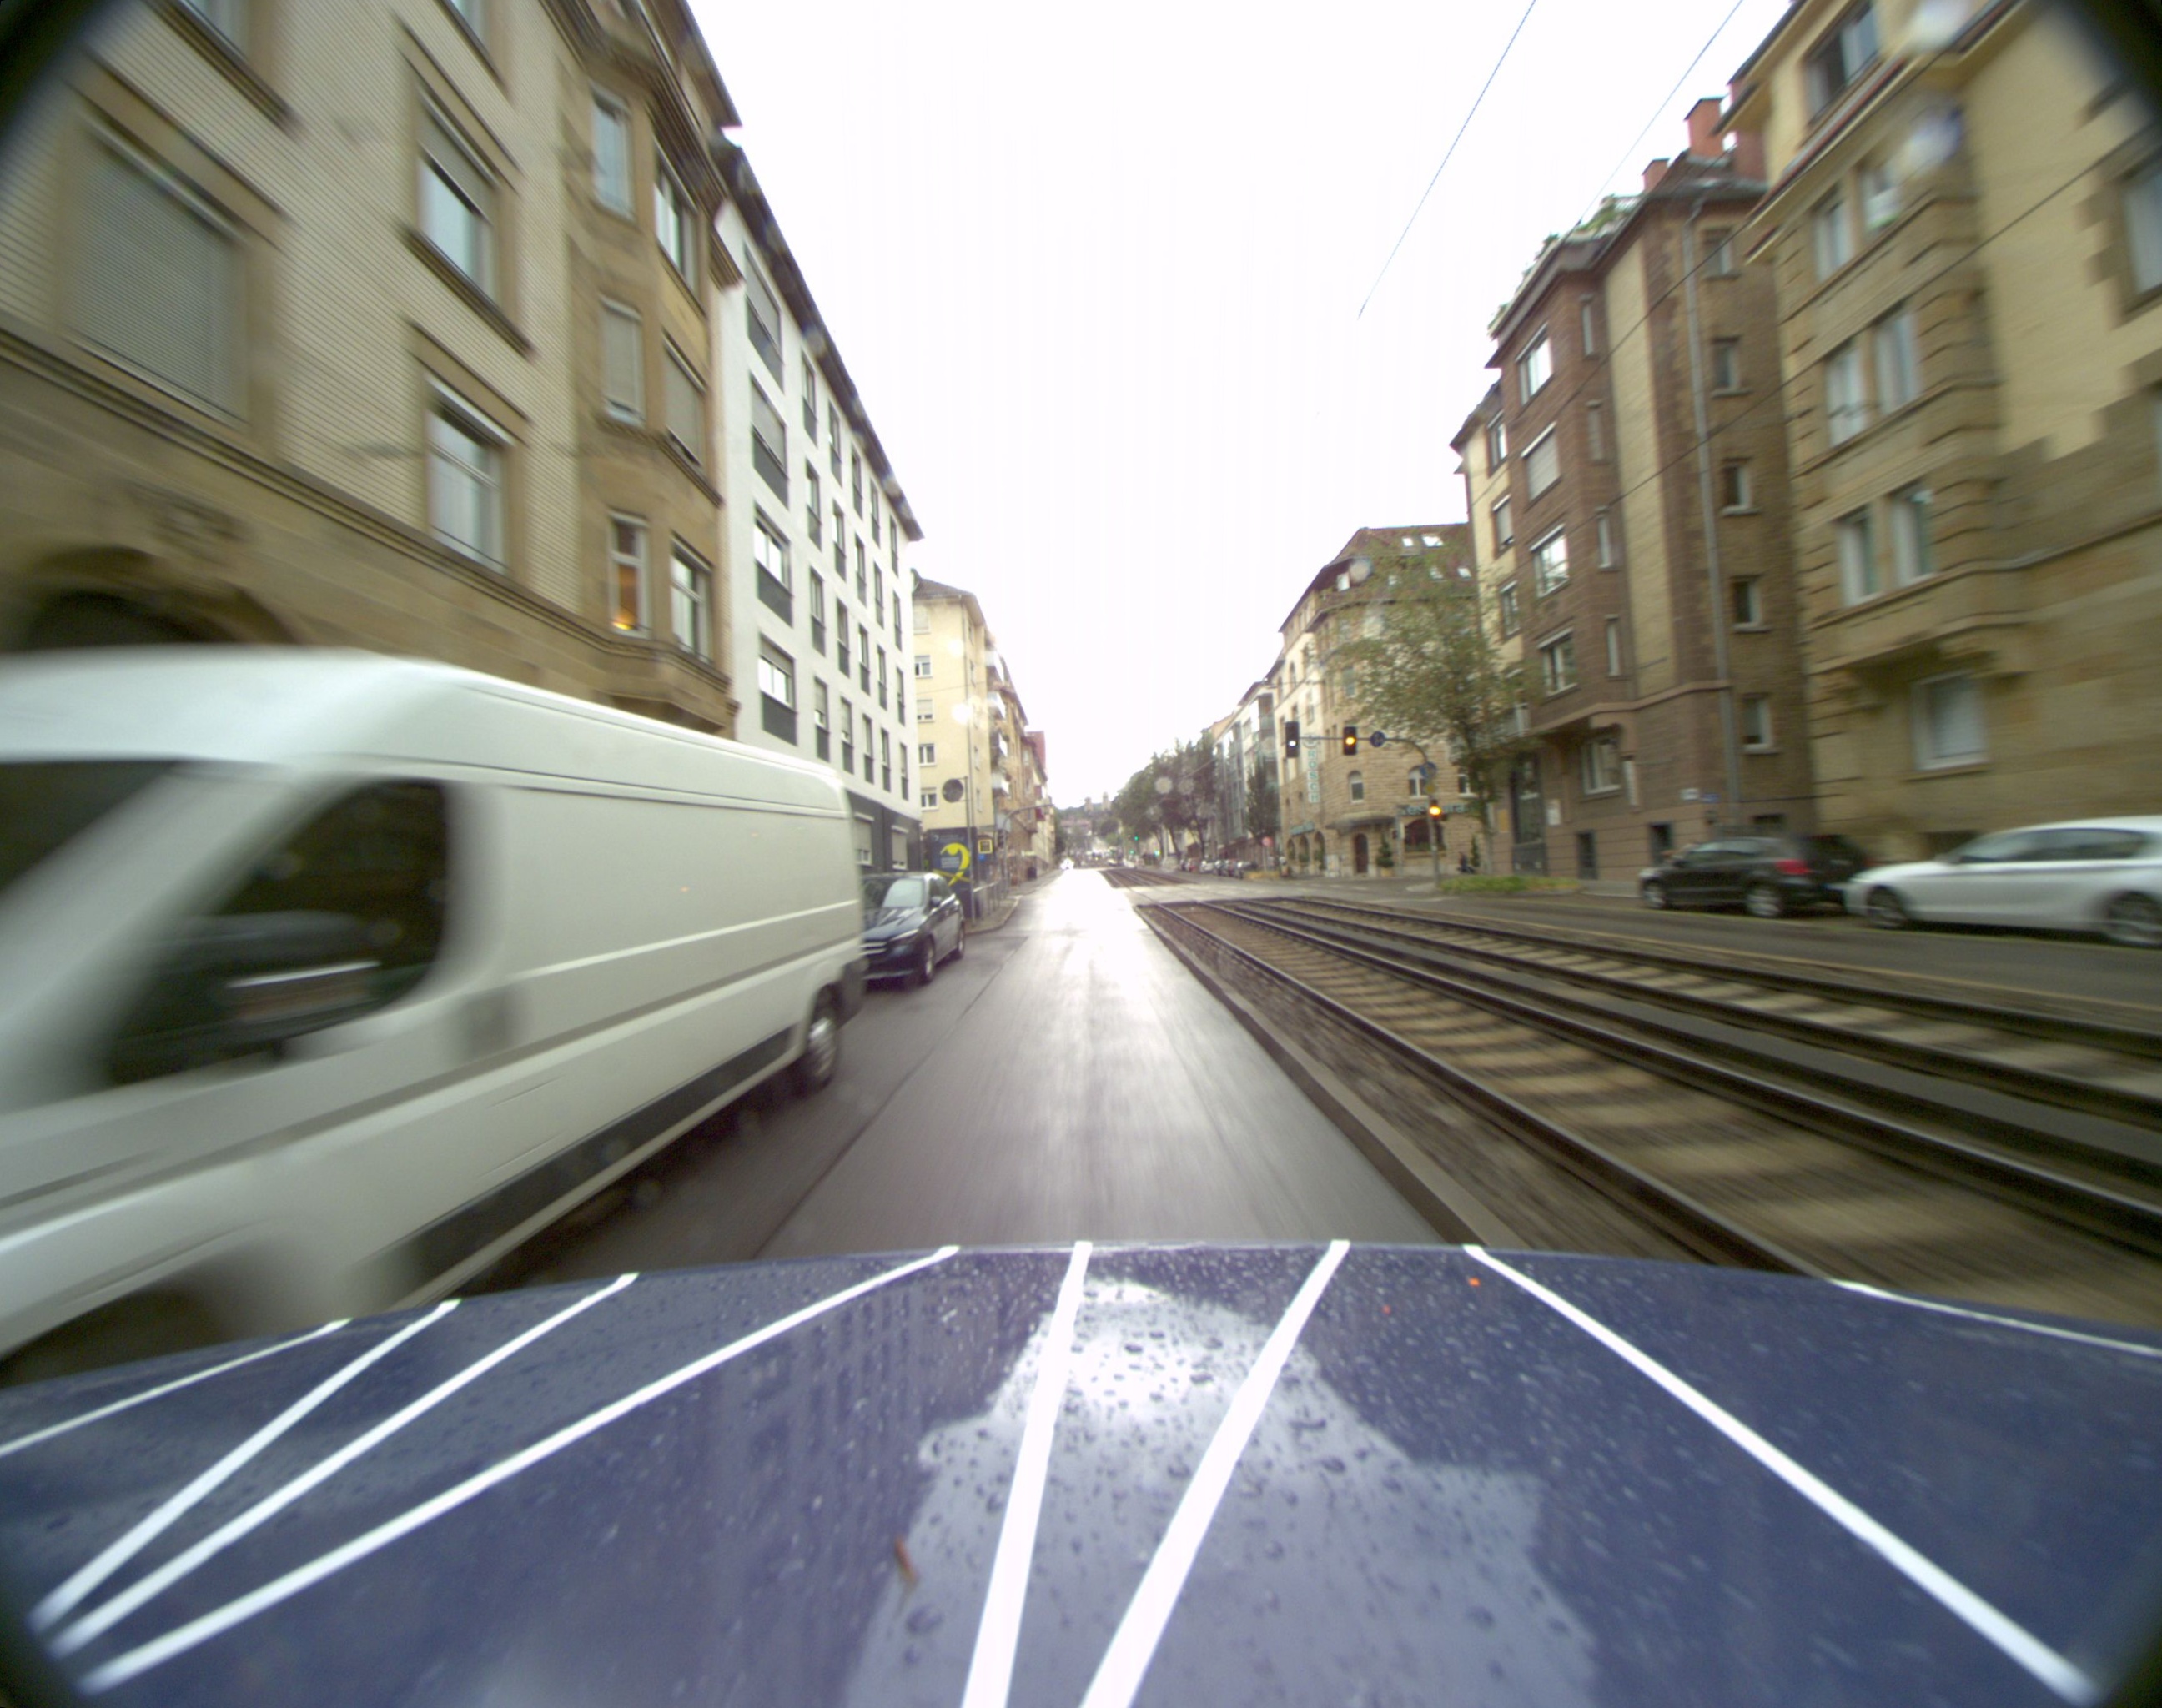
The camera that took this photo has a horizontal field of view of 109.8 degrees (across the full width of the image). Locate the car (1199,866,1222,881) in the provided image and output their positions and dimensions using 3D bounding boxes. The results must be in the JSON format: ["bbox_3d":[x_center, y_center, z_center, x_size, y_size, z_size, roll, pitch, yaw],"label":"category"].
[{"bbox_3d":[13.448,2.025,79.130,1.706,1.328,4.130,-5,0,1],"label":"car"}]

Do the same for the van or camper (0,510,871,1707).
[{"bbox_3d":[-2.968,0.635,3.516,2.069,2.454,6.119,-3,0,1],"label":"van or camper"}]

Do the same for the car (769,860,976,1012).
[{"bbox_3d":[-2.915,1.045,11.723,1.773,1.797,4.483,-4,-1,1],"label":"car"}]

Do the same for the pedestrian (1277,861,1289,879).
[{"bbox_3d":[15.894,1.248,59.827,0.756,1.413,0.645,-3,0,4],"label":"pedestrian"}]

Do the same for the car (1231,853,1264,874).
[{"bbox_3d":[13.256,0.771,60.664,1.769,1.543,3.895,-3,0,0],"label":"car"}]

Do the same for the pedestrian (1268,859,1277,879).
[{"bbox_3d":[15.113,1.159,59.832,0.518,1.561,0.643,-2,1,4],"label":"pedestrian"}]

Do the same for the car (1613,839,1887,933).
[{"bbox_3d":[12.544,0.538,14.658,1.769,1.477,4.000,-3,0,2],"label":"car"}]

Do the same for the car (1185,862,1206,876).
[{"bbox_3d":[13.586,1.786,90.524,1.781,1.560,4.158,-3,0,0],"label":"car"}]

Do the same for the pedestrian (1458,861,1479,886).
[{"bbox_3d":[23.001,1.156,45.071,0.819,1.407,0.721,-4,-2,4],"label":"pedestrian"}]

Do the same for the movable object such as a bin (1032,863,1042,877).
[{"bbox_3d":[-4.781,1.721,82.431,1.011,1.442,1.393,-1,0,1],"label":"movable object such as a bin"}]

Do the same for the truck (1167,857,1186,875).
[{"bbox_3d":[14.064,1.706,111.931,2.197,2.332,6.352,-2,1,3],"label":"truck"}]

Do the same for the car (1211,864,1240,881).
[{"bbox_3d":[13.344,1.677,70.252,1.805,1.446,4.431,-3,-1,0],"label":"car"}]

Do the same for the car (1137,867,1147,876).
[{"bbox_3d":[11.809,3.328,146.570,1.631,1.473,3.581,-3,0,2],"label":"car"}]

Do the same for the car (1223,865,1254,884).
[{"bbox_3d":[13.530,1.741,65.567,1.812,1.489,3.526,-4,0,-1],"label":"car"}]

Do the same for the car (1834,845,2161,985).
[{"bbox_3d":[12.285,0.643,9.444,1.671,1.417,4.263,-3,0,2],"label":"car"}]
